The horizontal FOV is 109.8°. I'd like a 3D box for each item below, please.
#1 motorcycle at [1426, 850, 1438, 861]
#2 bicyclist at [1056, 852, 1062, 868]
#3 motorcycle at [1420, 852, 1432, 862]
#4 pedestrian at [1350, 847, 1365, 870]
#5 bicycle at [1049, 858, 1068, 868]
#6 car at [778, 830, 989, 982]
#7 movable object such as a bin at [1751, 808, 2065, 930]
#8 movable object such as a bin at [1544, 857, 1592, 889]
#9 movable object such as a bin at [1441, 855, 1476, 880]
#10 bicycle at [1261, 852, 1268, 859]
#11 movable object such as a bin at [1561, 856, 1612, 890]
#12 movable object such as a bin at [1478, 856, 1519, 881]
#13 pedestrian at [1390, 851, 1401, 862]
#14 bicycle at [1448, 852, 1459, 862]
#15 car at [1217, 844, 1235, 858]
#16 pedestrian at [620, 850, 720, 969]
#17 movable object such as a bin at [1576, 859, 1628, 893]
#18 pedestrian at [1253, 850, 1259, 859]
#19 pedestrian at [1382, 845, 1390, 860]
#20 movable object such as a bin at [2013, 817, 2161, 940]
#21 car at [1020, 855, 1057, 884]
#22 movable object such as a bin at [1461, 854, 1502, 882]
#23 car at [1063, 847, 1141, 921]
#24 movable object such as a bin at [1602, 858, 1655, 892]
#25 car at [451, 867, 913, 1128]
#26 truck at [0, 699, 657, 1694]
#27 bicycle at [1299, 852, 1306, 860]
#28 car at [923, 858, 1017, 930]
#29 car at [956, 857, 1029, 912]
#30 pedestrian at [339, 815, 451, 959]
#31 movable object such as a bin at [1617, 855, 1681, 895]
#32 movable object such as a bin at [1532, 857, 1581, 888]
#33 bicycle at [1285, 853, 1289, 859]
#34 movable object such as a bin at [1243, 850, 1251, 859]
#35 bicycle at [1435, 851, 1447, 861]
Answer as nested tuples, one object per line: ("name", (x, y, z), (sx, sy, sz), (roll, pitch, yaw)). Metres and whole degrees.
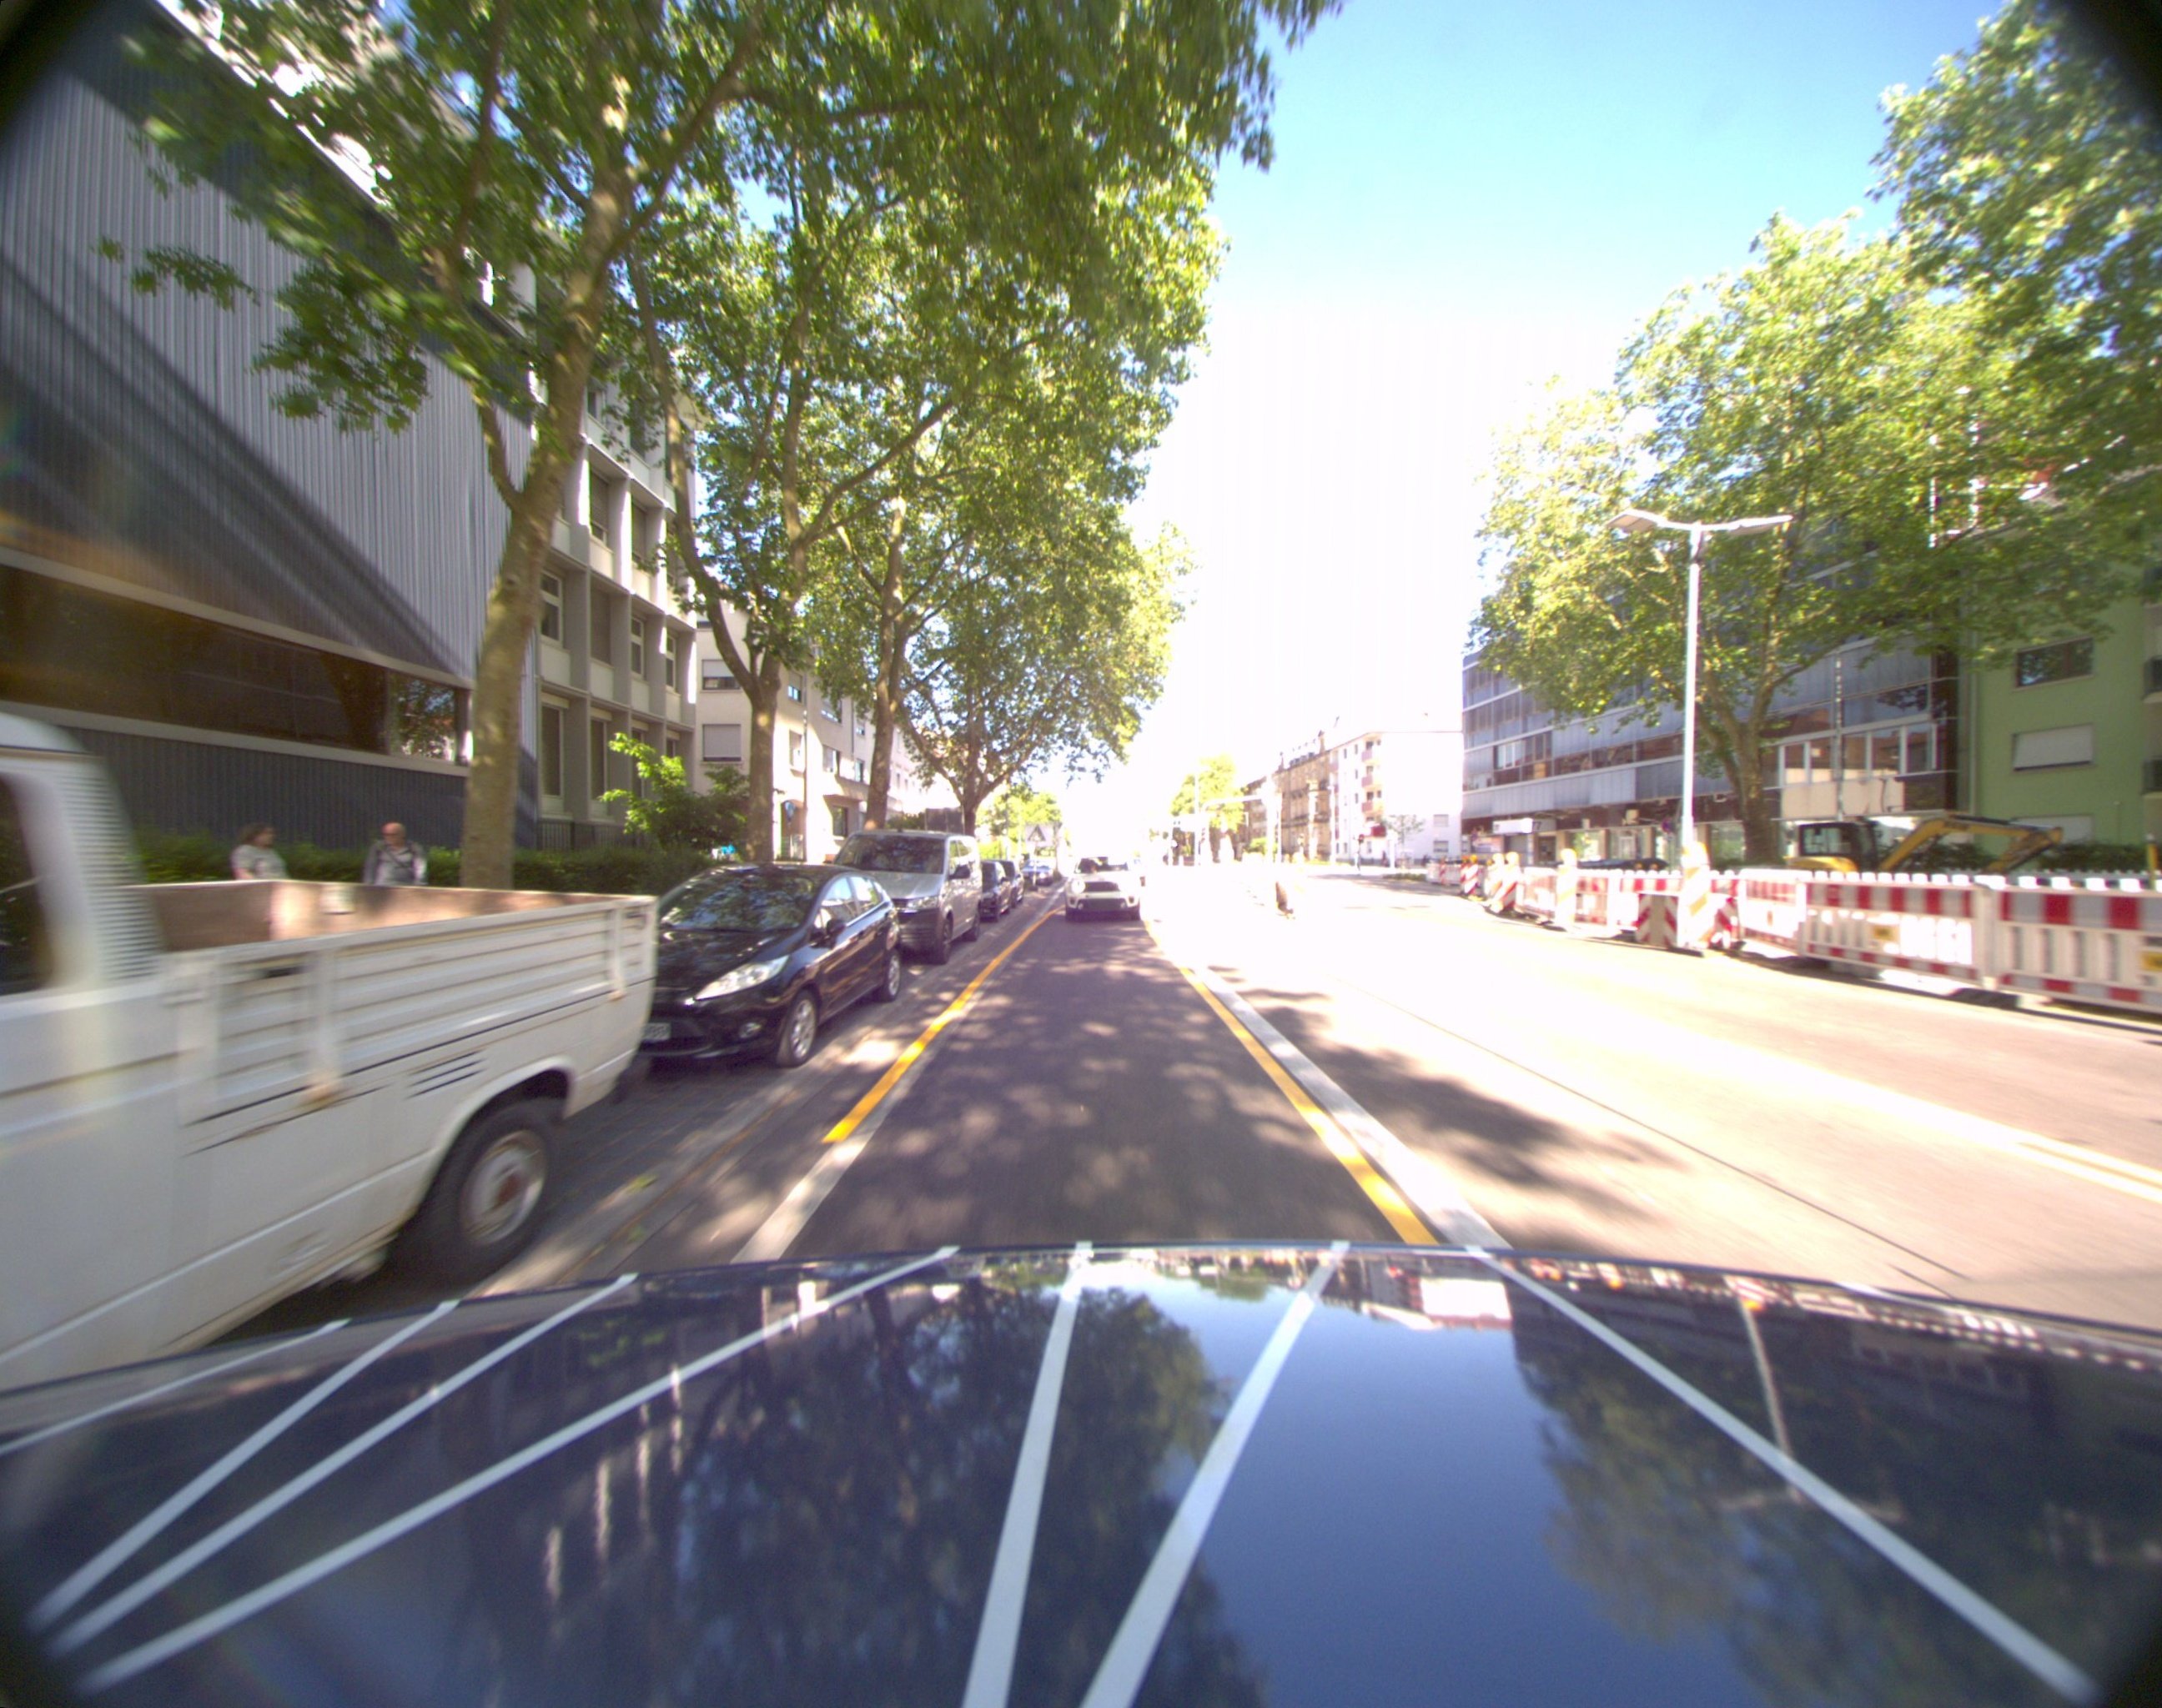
("motorcycle", (34.740, 0.145, 75.226), (0.612, 1.135, 1.784), (-1, 0, 10))
("bicyclist", (-2.318, 0.601, 80.245), (0.605, 1.698, 0.858), (-1, 0, 1))
("motorcycle", (33.638, 0.280, 74.076), (0.504, 0.931, 1.843), (-1, 0, 8))
("pedestrian", (20.706, 0.351, 56.876), (0.866, 1.701, 1.013), (-1, 0, 8))
("bicycle", (-2.367, 0.950, 80.303), (1.967, 1.019, 0.605), (-2, 0, 0))
("car", (-2.855, 0.653, 12.402), (2.031, 1.935, 5.272), (-1, 0, 0))
("movable object such as a bin", (20.780, 0.312, 19.590), (2.152, 2.690, 5.353), (-1, 0, -2))
("movable object such as a bin", (20.516, 0.794, 32.053), (1.413, 1.330, 0.936), (-1, 1, 3))
("movable object such as a bin", (21.077, 0.747, 42.477), (1.116, 1.380, 1.856), (-1, 1, 2))
("bicycle", (27.774, 0.266, 114.913), (0.468, 0.999, 2.250), (-2, 0, -1))
("movable object such as a bin", (20.619, 0.781, 31.017), (1.413, 1.330, 1.069), (-1, 1, 2))
("movable object such as a bin", (21.091, 0.714, 38.402), (1.397, 1.196, 1.241), (-1, 1, 4))
("pedestrian", (30.711, 0.240, 74.156), (0.719, 1.146, 0.788), (-1, 1, -12))
("bicycle", (35.837, 0.265, 73.114), (0.478, 0.942, 1.953), (-1, 0, 9))
("car", (26.314, -0.463, 137.920), (2.250, 2.431, 5.288), (1, -1, 1))
("pedestrian", (-5.808, 0.740, 10.824), (0.730, 1.593, 1.267), (-1, 1, -2))
("movable object such as a bin", (20.350, 0.853, 29.719), (0.982, 1.263, 1.540), (-1, 0, 0))
("pedestrian", (26.784, 0.060, 116.477), (0.568, 1.370, 1.089), (2, 3, -1))
("pedestrian", (31.347, -0.131, 78.155), (0.601, 1.488, 0.695), (-1, 1, 4))
("movable object such as a bin", (20.827, 0.457, 13.409), (1.998, 2.265, 5.599), (0, 1, 3))
("car", (-2.348, 0.853, 43.309), (1.857, 1.471, 4.941), (-1, 0, -1))
("movable object such as a bin", (21.148, 0.725, 40.140), (1.217, 1.380, 1.856), (-1, 1, 2))
("car", (0.594, 0.699, 19.125), (1.743, 1.647, 3.691), (-1, 0, 3))
("movable object such as a bin", (21.369, 0.818, 29.705), (0.982, 1.263, 1.540), (-1, 0, 0))
("car", (-2.879, 0.901, 6.658), (1.752, 1.469, 4.101), (0, 1, 2))
("truck", (-2.971, 0.641, 1.352), (1.881, 1.870, 4.453), (0, 1, 1))
("bicycle", (27.751, 0.257, 95.322), (0.305, 0.952, 1.940), (0, 0, 1))
("car", (-2.659, 0.903, 19.093), (1.661, 1.531, 4.128), (-2, 0, 1))
("car", (-2.696, 0.892, 24.085), (1.768, 1.499, 4.250), (-1, 0, 0))
("pedestrian", (-8.266, 0.397, 9.184), (0.707, 1.639, 0.675), (-3, -2, -2))
("movable object such as a bin", (20.847, 0.743, 27.890), (1.637, 1.414, 1.260), (-1, 1, -25))
("movable object such as a bin", (20.719, 0.797, 33.137), (1.413, 1.330, 1.157), (-1, 1, 3))
("bicycle", (27.845, 0.251, 102.725), (0.299, 0.766, 1.414), (-1, 0, 1))
("movable object such as a bin", (27.241, 0.118, 124.660), (0.895, 1.352, 1.474), (1, -1, 2))
("bicycle", (36.169, 0.190, 76.337), (0.575, 0.963, 1.737), (-1, 0, 5))
